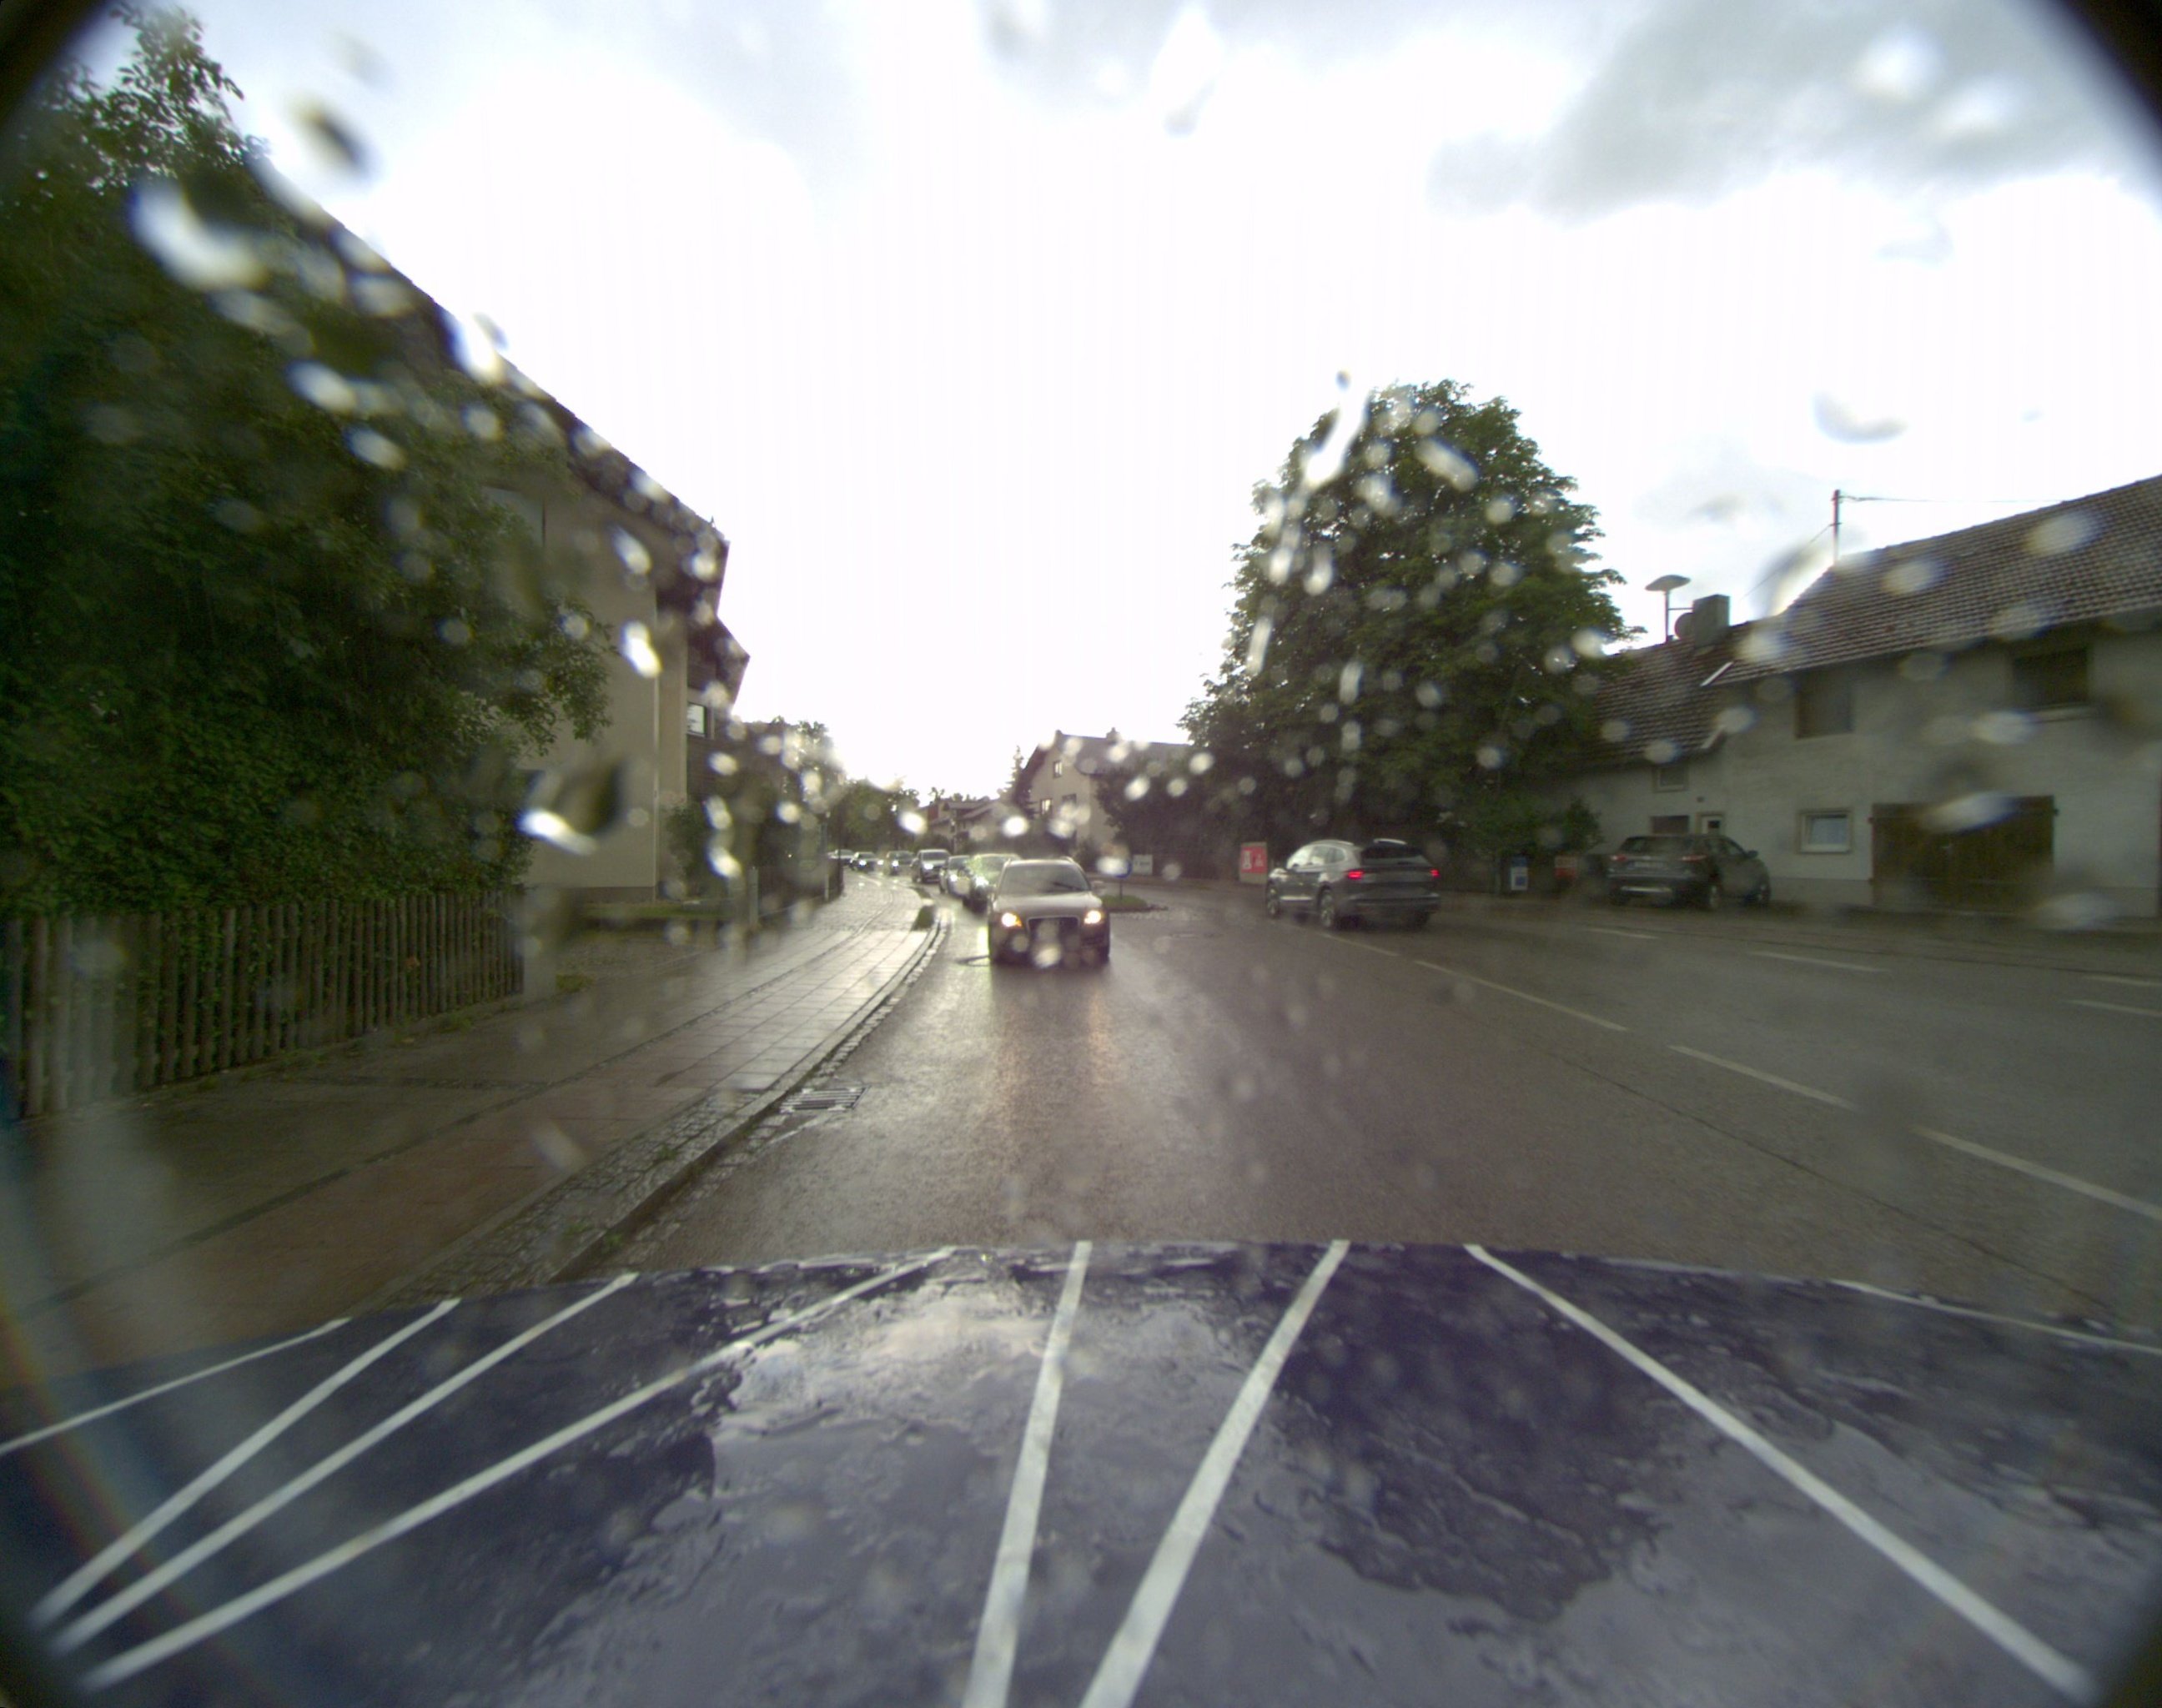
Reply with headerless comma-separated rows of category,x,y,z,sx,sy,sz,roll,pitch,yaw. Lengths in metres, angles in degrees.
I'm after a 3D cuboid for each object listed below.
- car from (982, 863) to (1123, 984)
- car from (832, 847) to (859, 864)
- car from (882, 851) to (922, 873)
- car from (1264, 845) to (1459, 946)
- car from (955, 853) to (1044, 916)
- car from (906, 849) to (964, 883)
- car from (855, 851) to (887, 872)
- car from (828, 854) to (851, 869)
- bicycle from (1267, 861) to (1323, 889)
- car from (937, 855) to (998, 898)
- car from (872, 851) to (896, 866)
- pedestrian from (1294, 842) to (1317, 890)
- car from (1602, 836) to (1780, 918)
car,-0.630,0.927,12.033,1.795,1.387,4.278,-2,1,-7
car,-22.501,0.137,72.505,1.797,1.539,4.272,-3,1,-25
car,-12.160,0.535,51.433,1.797,1.365,4.272,-3,1,-25
car,5.141,0.680,14.622,1.999,1.585,4.190,-2,0,-3
car,-2.492,0.763,21.875,1.796,1.470,5.378,-3,1,-14
car,-7.420,0.557,38.370,1.797,1.539,4.272,-3,1,-25
car,-17.254,0.597,62.284,1.797,1.539,4.272,-3,1,-25
car,-25.866,0.776,81.239,1.797,1.539,4.272,-3,1,-25
bicycle,7.494,0.723,26.733,0.665,0.897,1.869,-2,1,-37
car,-4.315,0.768,28.446,1.796,1.387,4.275,-2,1,-14
car,-21.250,0.462,81.812,1.797,1.539,4.272,-3,1,-24
pedestrian,7.556,0.401,25.572,0.652,1.619,0.480,-1,1,25
car,13.150,0.457,16.308,4.289,1.539,1.813,1,0,-35
